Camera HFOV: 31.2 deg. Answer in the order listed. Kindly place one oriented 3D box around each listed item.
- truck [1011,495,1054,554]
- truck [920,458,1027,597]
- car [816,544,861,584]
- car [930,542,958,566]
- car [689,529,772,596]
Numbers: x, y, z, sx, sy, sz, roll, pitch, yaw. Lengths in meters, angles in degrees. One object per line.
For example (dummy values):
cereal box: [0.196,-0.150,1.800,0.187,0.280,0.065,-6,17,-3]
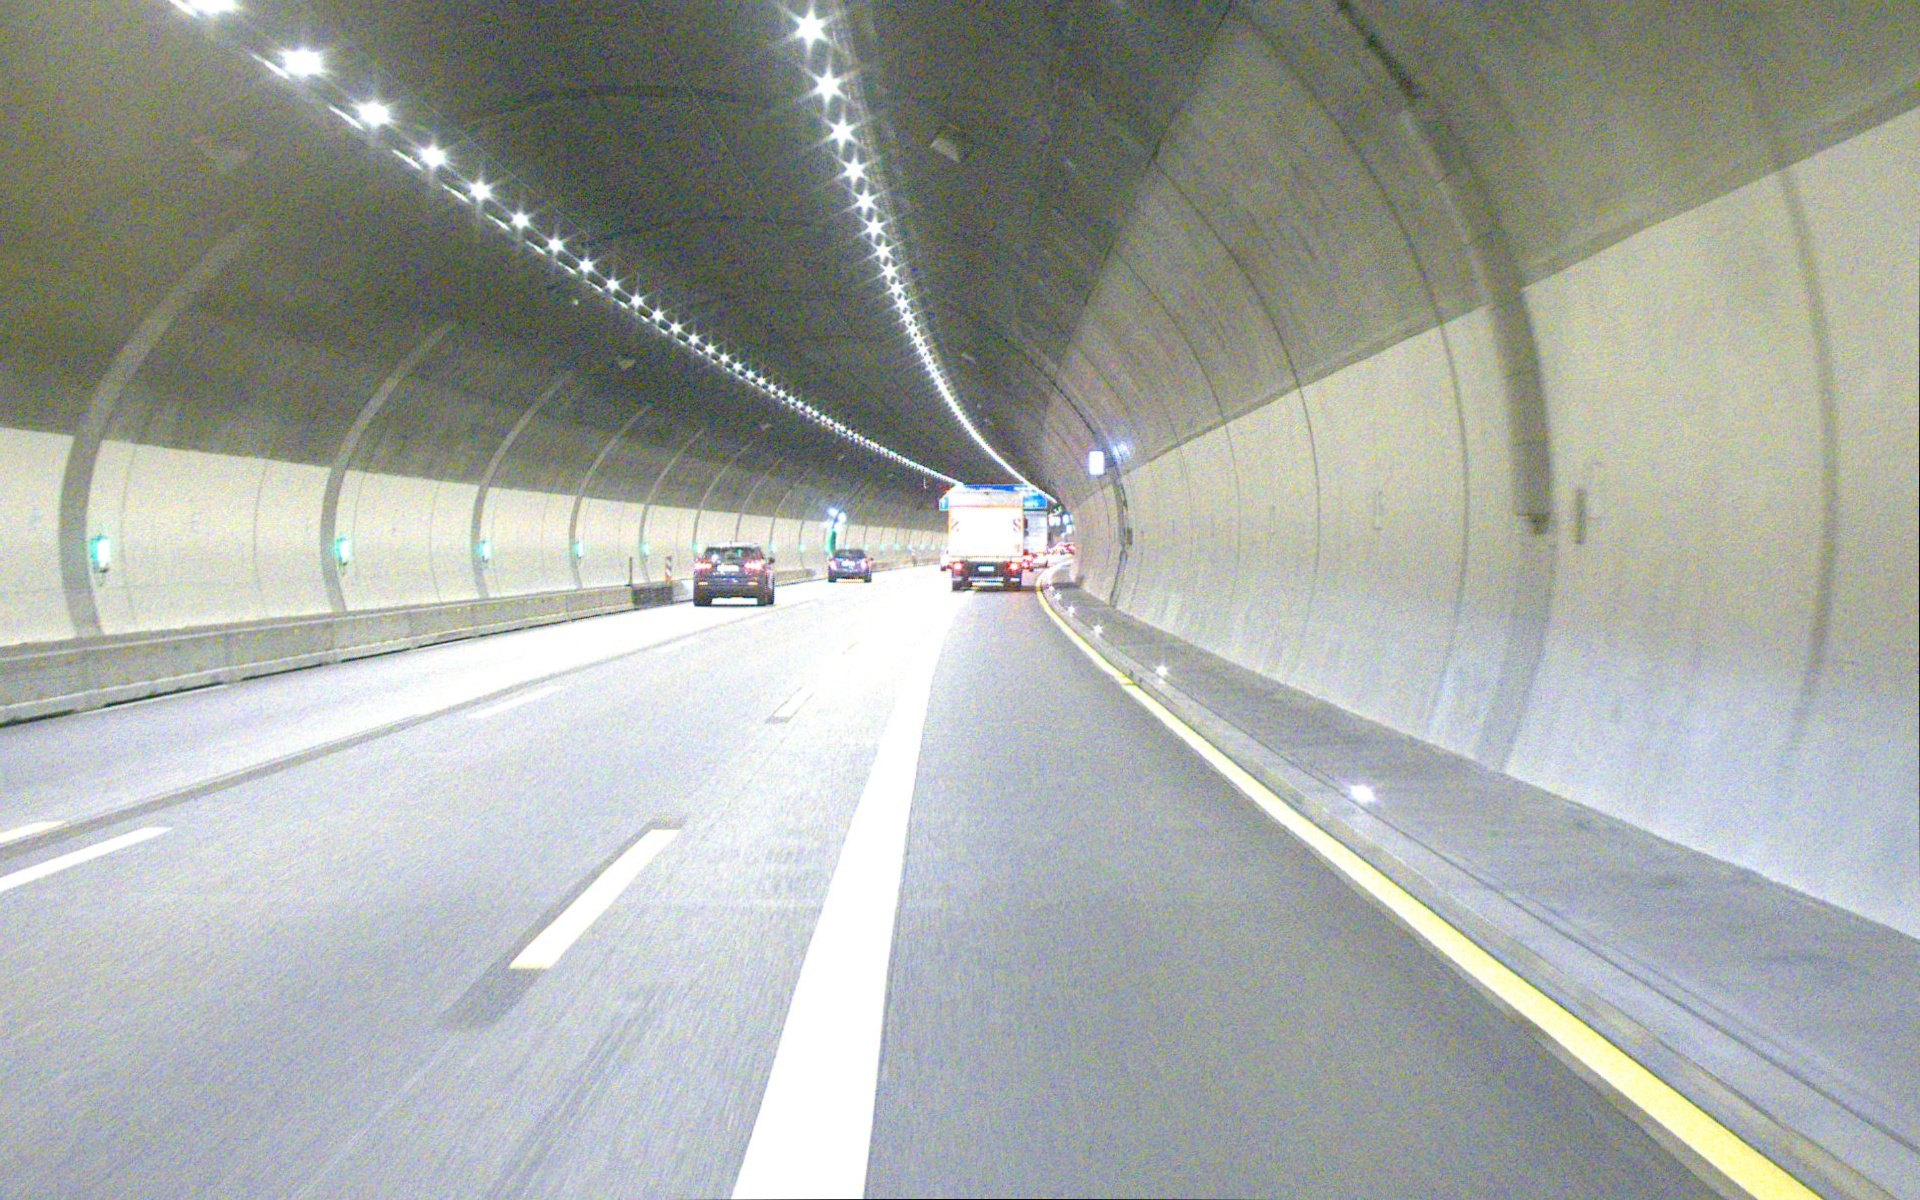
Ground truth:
truck: [5.175,-5.443,248.026,2.923,4.034,14.030,-1,1,1]
truck: [0.355,-2.611,124.520,3.278,4.634,17.288,-1,1,-1]
car: [-5.016,-1.484,142.440,1.812,1.514,4.001,0,3,-1]
car: [-0.971,-2.786,207.635,1.650,1.270,4.001,0,3,-1]
car: [-5.715,-0.960,86.043,1.812,1.612,4.000,0,1,0]
